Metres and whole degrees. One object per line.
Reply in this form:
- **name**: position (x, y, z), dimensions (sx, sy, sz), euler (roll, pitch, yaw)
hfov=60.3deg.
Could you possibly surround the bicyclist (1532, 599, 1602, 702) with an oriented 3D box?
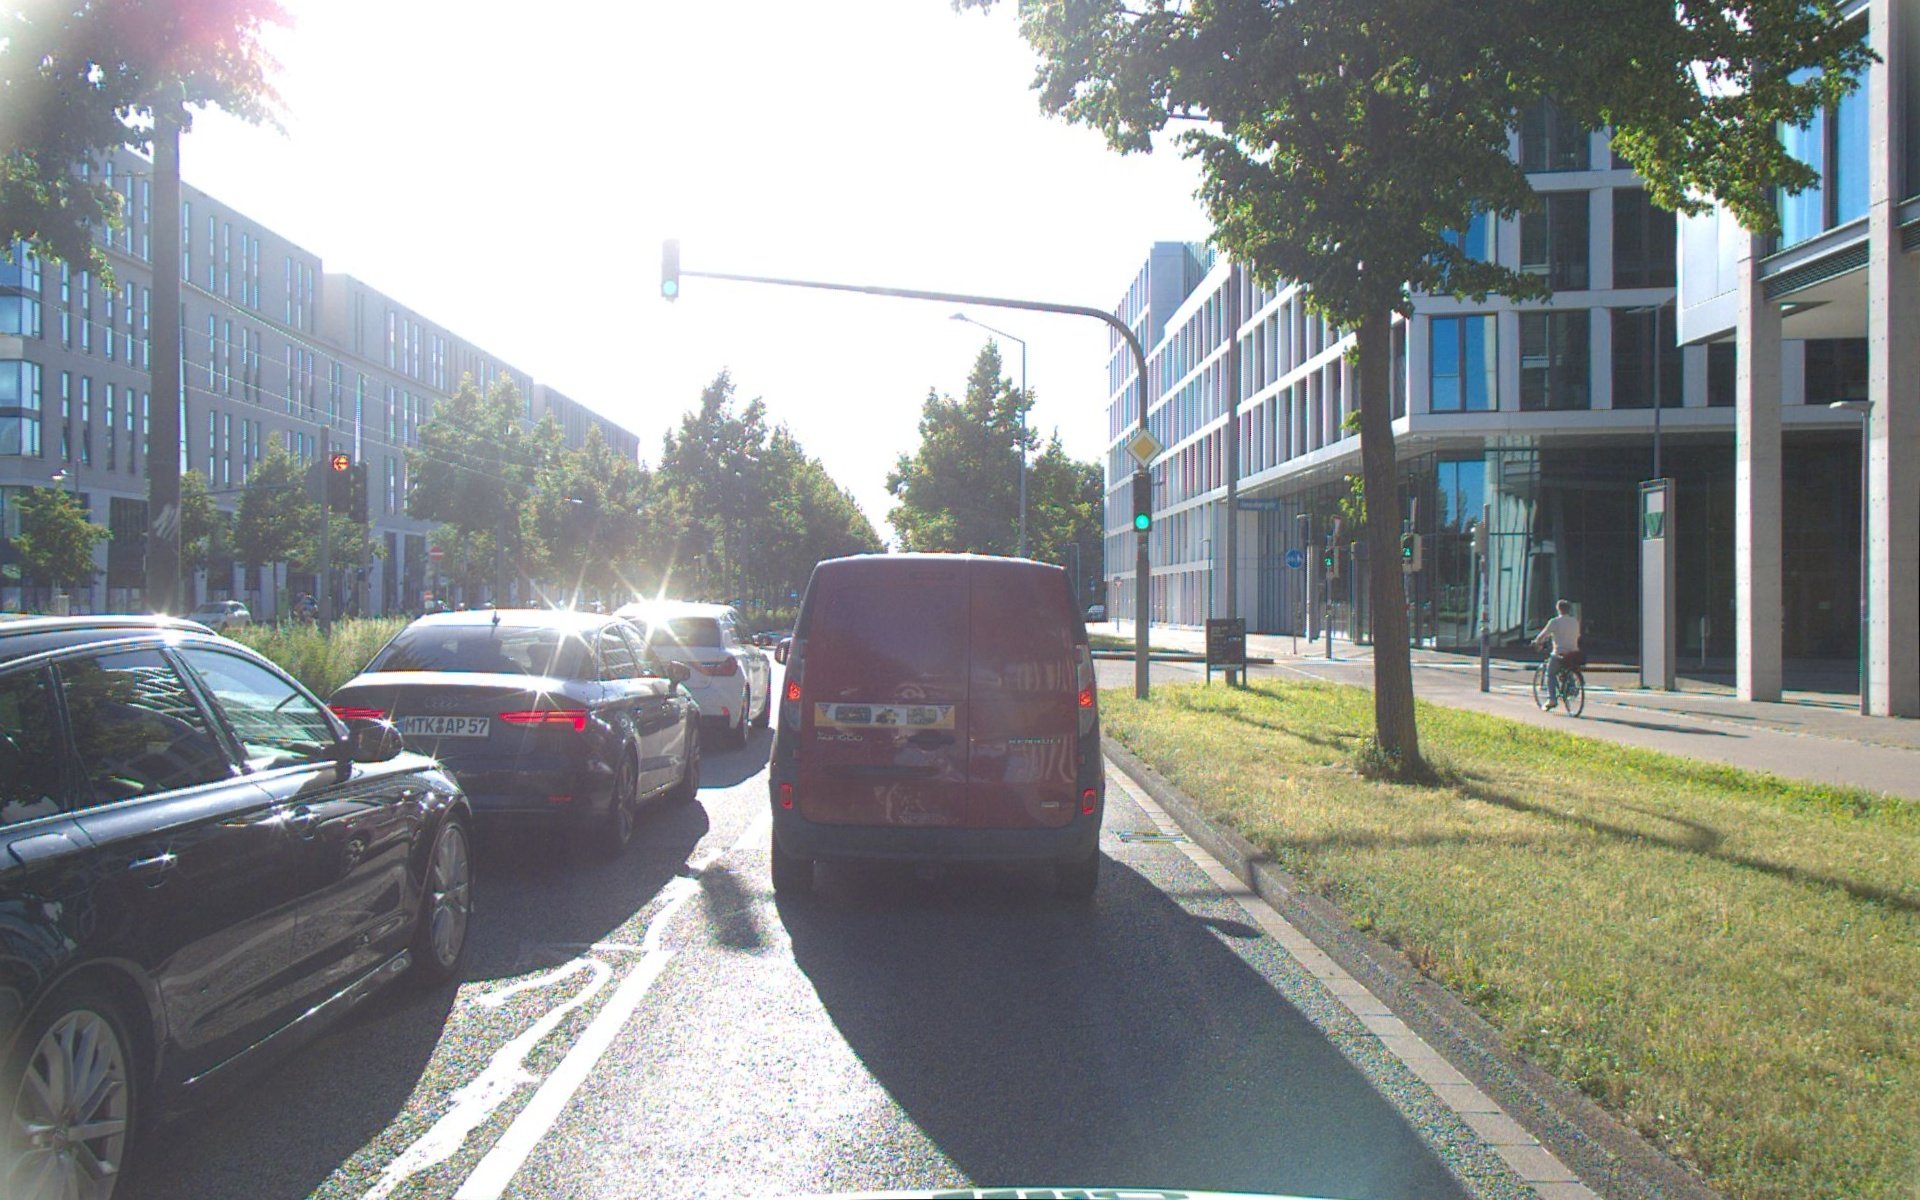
- **bicyclist**: position (9.359, 0.764, 25.535), dimensions (0.756, 1.558, 0.849), euler (0, 0, -1)

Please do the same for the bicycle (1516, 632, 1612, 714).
- **bicycle**: position (9.343, 1.106, 25.664), dimensions (0.726, 1.194, 1.960), euler (-2, -1, -1)

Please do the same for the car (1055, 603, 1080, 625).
- **car**: position (8.280, 1.096, 127.760), dimensions (1.722, 1.640, 3.903), euler (0, 0, 0)

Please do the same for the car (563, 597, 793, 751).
- **car**: position (-2.896, 0.706, 17.848), dimensions (1.771, 1.460, 4.112), euler (0, 0, 0)

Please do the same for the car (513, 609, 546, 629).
- **car**: position (-35.352, 1.551, 135.912), dimensions (1.740, 1.555, 3.805), euler (0, 0, -1)

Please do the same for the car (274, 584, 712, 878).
- **car**: position (-2.786, 0.694, 10.843), dimensions (1.771, 1.554, 4.112), euler (0, 0, -1)

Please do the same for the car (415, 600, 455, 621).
- **car**: position (-34.943, 0.680, 110.055), dimensions (1.548, 1.366, 3.711), euler (0, 0, -1)

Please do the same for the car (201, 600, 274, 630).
- **car**: position (-33.874, 0.675, 77.658), dimensions (1.548, 1.366, 4.470), euler (0, 0, -1)

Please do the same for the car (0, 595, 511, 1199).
- **car**: position (-2.730, 0.728, 4.650), dimensions (1.771, 1.482, 4.507), euler (0, 0, -1)

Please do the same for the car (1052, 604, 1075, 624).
- **car**: position (8.323, 1.122, 132.965), dimensions (1.781, 1.559, 3.438), euler (0, 0, 2)

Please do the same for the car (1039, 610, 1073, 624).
- **car**: position (9.596, 1.677, 165.784), dimensions (3.327, 1.382, 1.472), euler (0, 0, 6)

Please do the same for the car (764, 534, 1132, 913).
- **car**: position (-0.058, 0.595, 10.036), dimensions (1.771, 1.826, 4.112), euler (0, 0, 0)

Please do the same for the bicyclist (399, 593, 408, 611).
- **bicyclist**: position (-41.011, 0.152, 121.827), dimensions (0.568, 1.316, 0.702), euler (1, -1, -15)

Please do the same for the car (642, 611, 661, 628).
- **car**: position (-36.980, 2.314, 198.166), dimensions (1.694, 2.049, 3.998), euler (0, 0, -3)

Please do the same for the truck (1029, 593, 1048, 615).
- **truck**: position (9.454, 0.465, 198.991), dimensions (1.794, 2.545, 5.930), euler (0, -1, -1)

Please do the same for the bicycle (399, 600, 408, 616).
- **bicycle**: position (-41.027, 0.580, 121.866), dimensions (0.519, 1.130, 1.631), euler (1, -1, -15)

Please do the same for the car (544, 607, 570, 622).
- **car**: position (-36.170, 1.299, 148.494), dimensions (1.548, 1.366, 3.711), euler (0, 0, -1)
